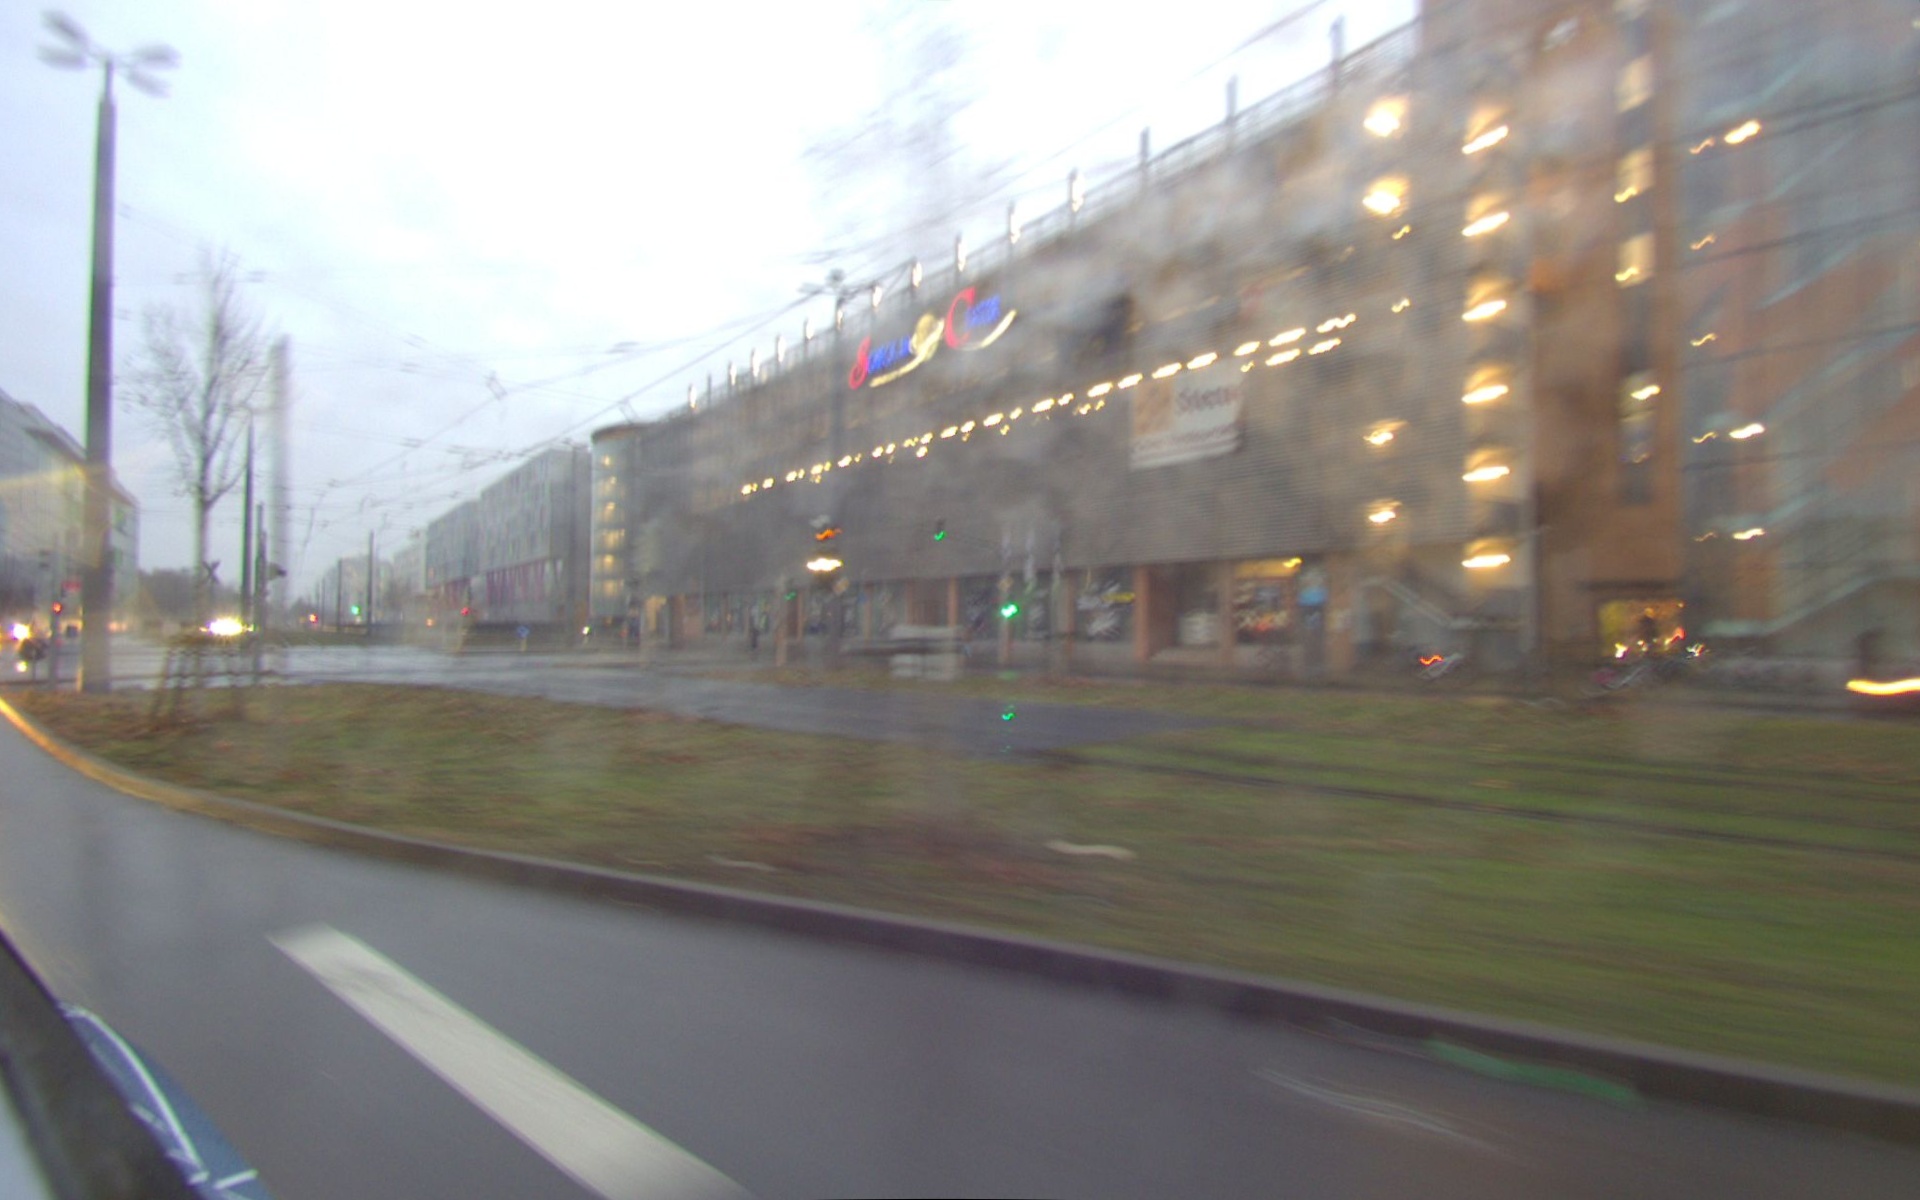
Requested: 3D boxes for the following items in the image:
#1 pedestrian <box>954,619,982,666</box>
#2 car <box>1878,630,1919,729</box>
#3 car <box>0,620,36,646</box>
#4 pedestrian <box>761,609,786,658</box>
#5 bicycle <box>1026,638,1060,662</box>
[{"bbox_3d":[0.418,2.218,52.973,0.950,2.457,1.117,2,-1,-33],"label":"pedestrian"},{"bbox_3d":[15.784,1.163,14.384,1.794,1.453,3.959,2,-2,-44],"label":"car"},{"bbox_3d":[-62.292,2.149,66.464,1.803,1.674,4.010,1,-2,-34],"label":"car"},{"bbox_3d":[-11.347,2.024,61.547,1.095,2.947,0.969,2,-1,-33],"label":"pedestrian"},{"bbox_3d":[4.181,2.529,51.010,0.469,1.130,2.097,2,-1,-34],"label":"bicycle"}]
